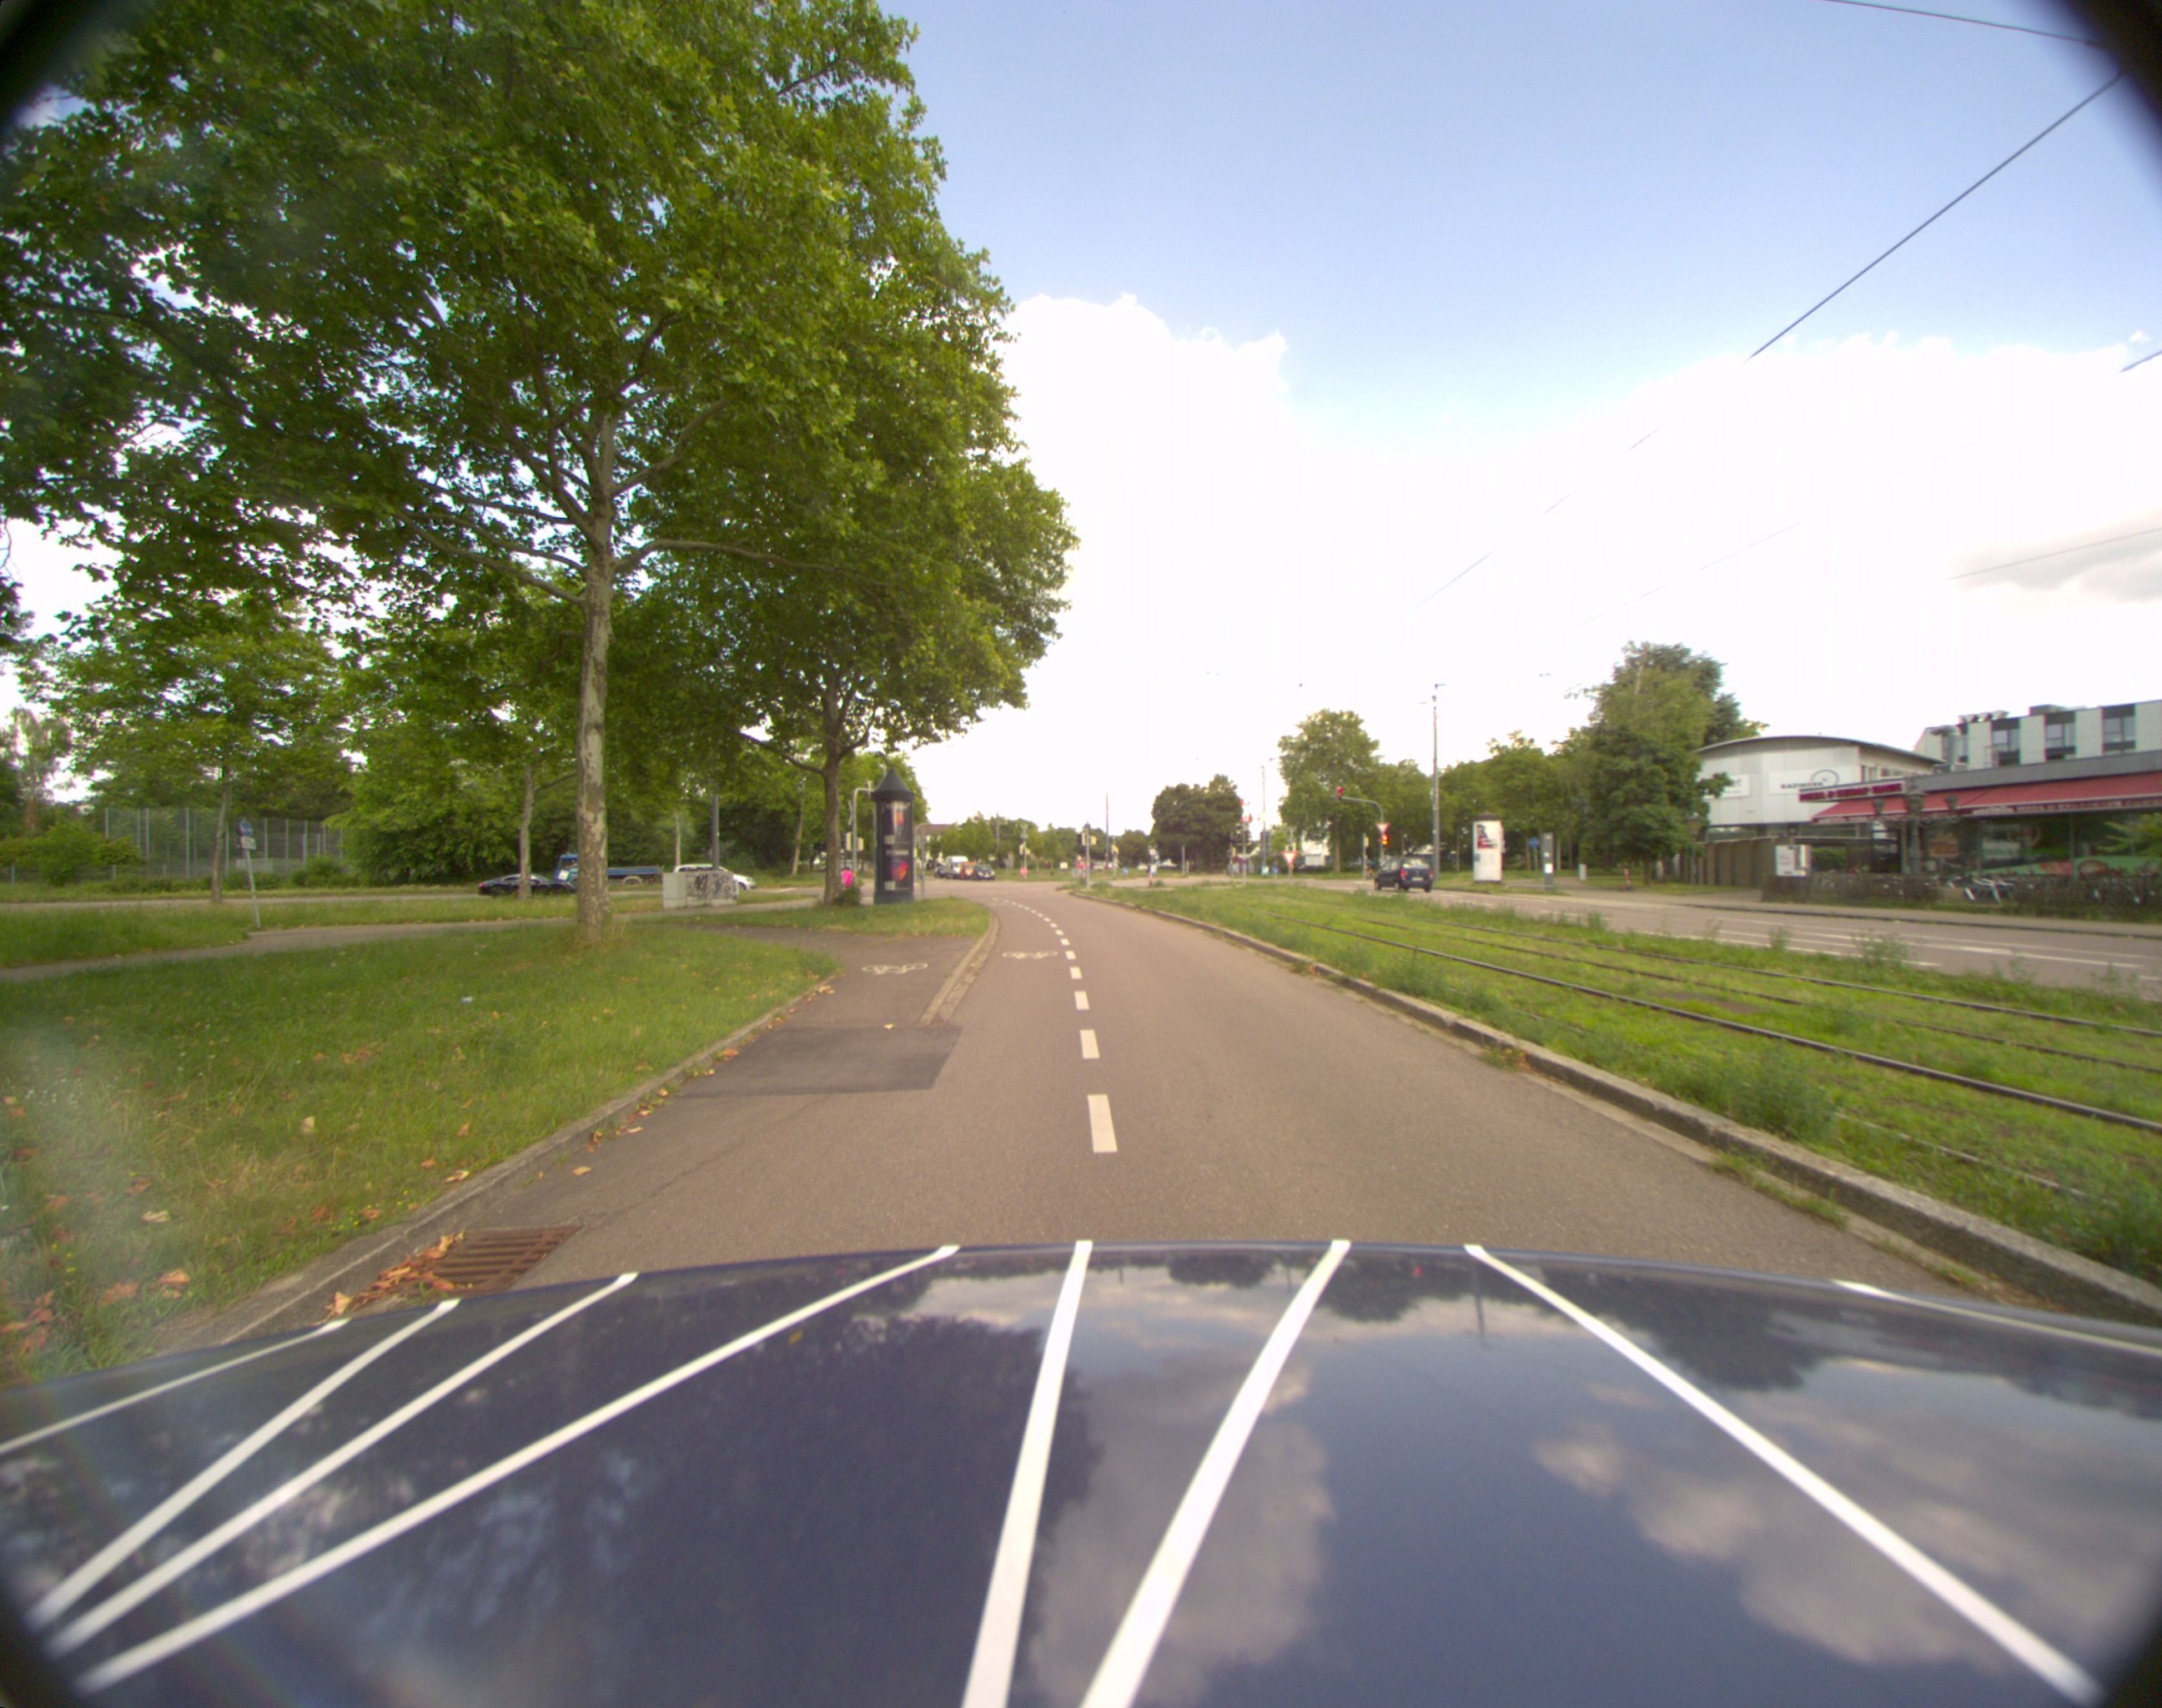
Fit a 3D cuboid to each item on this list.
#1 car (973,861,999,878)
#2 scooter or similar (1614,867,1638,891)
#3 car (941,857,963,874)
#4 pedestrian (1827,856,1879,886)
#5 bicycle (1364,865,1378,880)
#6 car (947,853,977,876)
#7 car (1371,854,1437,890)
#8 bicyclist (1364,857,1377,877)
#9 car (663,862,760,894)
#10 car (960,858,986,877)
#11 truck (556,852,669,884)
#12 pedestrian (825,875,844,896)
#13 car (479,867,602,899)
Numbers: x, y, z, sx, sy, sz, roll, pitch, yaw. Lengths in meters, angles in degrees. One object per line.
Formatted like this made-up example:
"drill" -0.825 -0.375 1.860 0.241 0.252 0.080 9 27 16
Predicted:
"car" -9.377 1.489 74.768 1.798 1.530 3.994 -1 0 -19
"scooter or similar" 25.097 1.144 35.003 0.427 1.027 1.224 -1 0 10
"car" -15.612 1.416 92.027 1.798 1.924 4.361 -1 0 -20
"pedestrian" 30.732 0.670 30.264 1.156 1.139 0.932 0 0 1
"bicycle" 21.006 1.374 55.126 0.803 1.053 2.072 -2 -2 18
"car" -13.628 1.137 86.657 2.242 2.492 5.716 -1 0 -21
"car" 15.462 0.838 36.501 1.783 1.617 3.496 0 0 2
"bicyclist" 20.966 0.933 55.046 0.803 1.461 0.833 -2 -1 18
"car" -20.322 1.304 42.028 4.692 1.601 1.996 0 1 -21
"car" -11.475 1.383 80.486 1.798 1.924 4.361 -1 0 -20
"truck" -30.556 0.900 49.758 5.860 2.002 2.289 0 0 -17
"pedestrian" -12.042 1.538 37.177 0.722 1.028 0.901 -1 0 -6
"car" -27.480 1.455 38.861 4.754 1.461 1.996 0 1 -21
